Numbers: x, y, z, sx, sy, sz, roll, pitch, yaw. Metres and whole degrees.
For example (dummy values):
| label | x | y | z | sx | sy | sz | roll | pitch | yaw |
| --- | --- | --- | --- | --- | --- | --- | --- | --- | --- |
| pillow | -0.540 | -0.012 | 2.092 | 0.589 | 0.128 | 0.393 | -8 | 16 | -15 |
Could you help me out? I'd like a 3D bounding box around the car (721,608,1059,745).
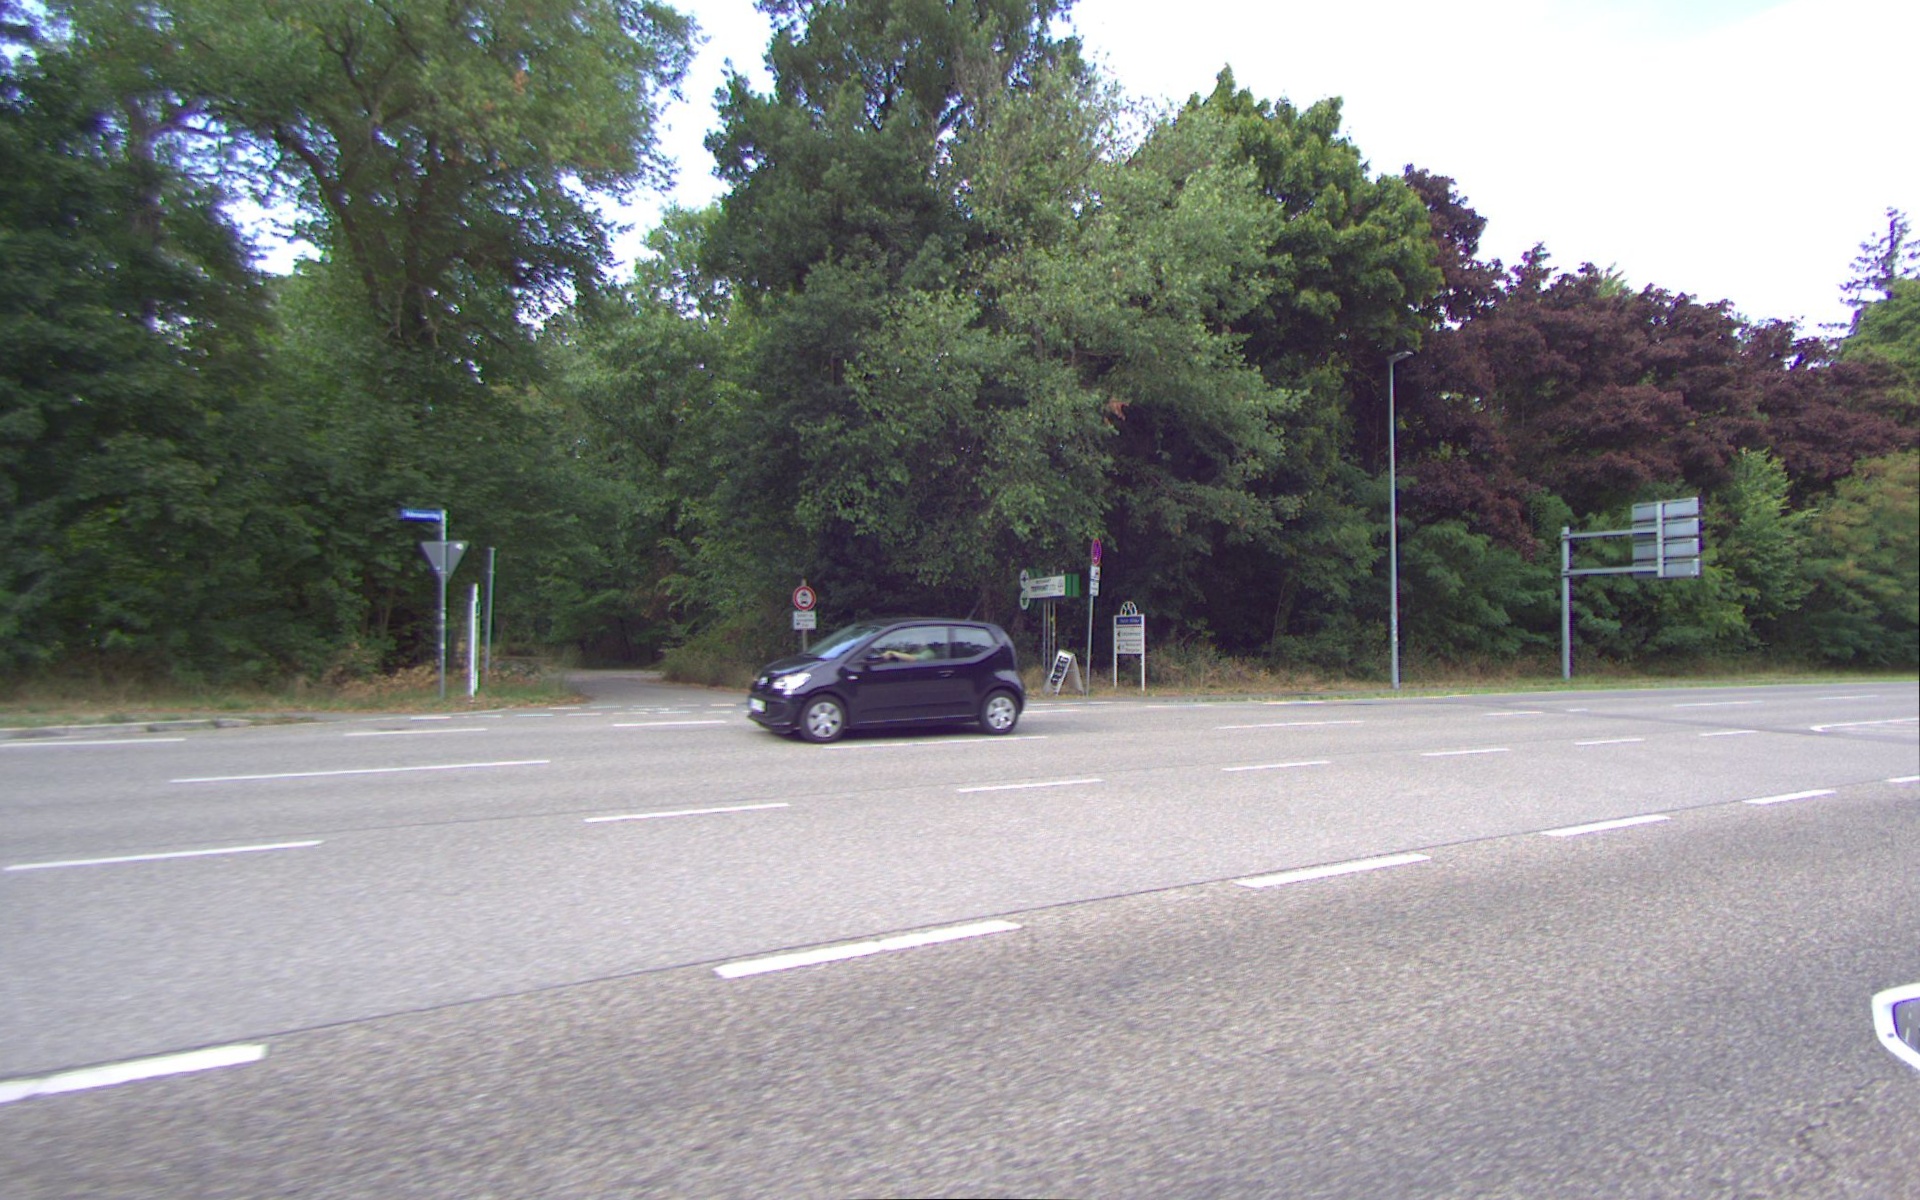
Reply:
| label | x | y | z | sx | sy | sz | roll | pitch | yaw |
| --- | --- | --- | --- | --- | --- | --- | --- | --- | --- |
| car | -0.857 | 0.900 | 12.847 | 3.952 | 1.495 | 1.733 | 1 | 0 | -30 |
